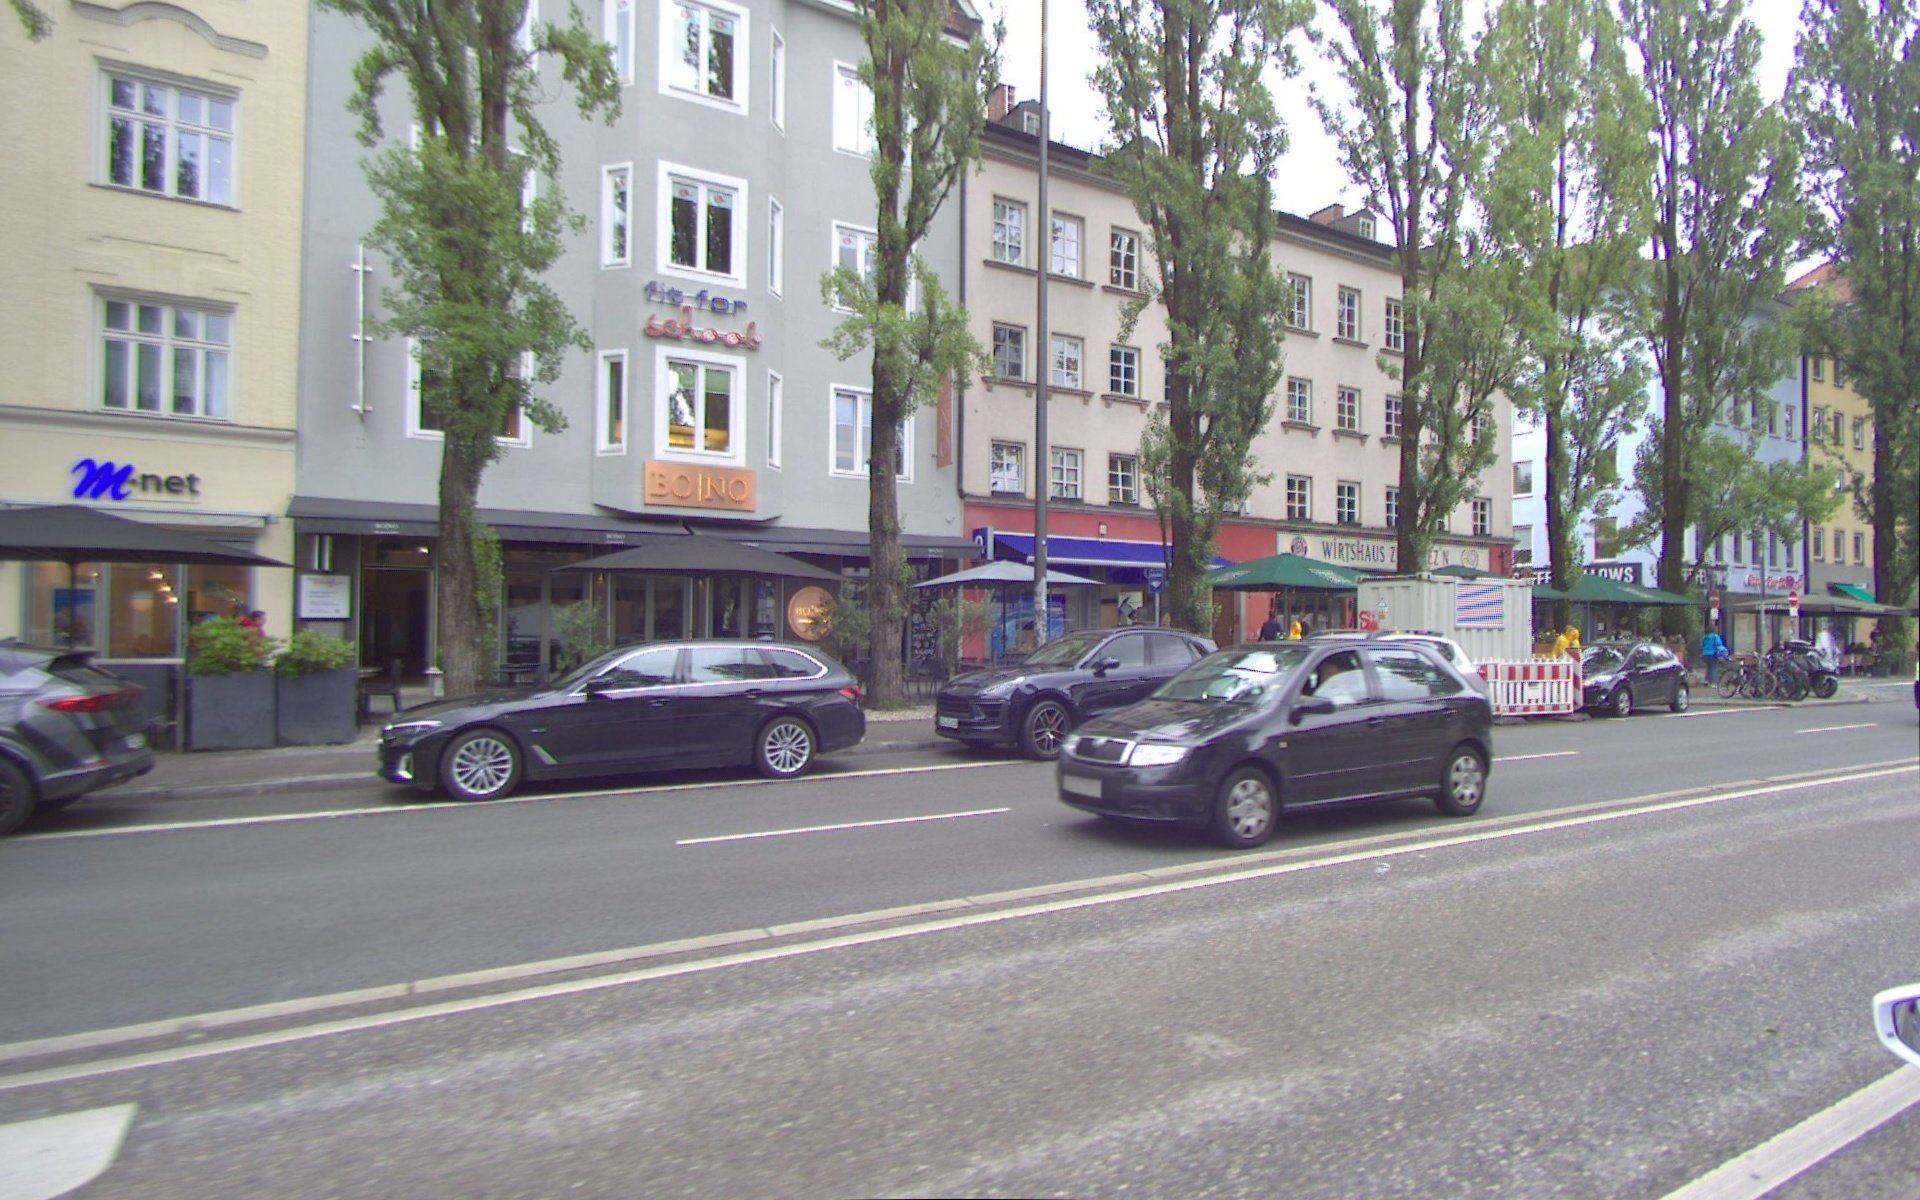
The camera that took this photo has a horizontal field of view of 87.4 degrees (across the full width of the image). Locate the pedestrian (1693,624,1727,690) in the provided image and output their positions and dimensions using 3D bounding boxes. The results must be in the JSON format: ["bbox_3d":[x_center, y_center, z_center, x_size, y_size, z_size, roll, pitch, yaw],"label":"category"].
[{"bbox_3d":[21.306,1.615,28.532,0.658,1.811,0.825,1,-1,45],"label":"pedestrian"}]

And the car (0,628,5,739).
[{"bbox_3d":[-8.133,0.884,5.245,4.162,1.585,1.840,2,-3,-30],"label":"car"}]

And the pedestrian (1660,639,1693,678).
[{"bbox_3d":[28.808,2.336,40.390,0.887,1.562,0.791,1,-2,-30],"label":"pedestrian"}]

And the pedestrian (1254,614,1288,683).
[{"bbox_3d":[8.679,1.345,28.044,0.640,1.886,0.635,1,-2,-30],"label":"pedestrian"}]

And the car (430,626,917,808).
[{"bbox_3d":[-3.060,1.119,11.009,4.831,1.617,1.986,1,-3,-28],"label":"car"}]

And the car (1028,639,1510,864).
[{"bbox_3d":[2.540,1.034,8.120,3.679,1.432,1.704,1,-2,-30],"label":"car"}]

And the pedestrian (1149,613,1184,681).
[{"bbox_3d":[5.317,1.200,25.852,0.640,1.722,0.635,1,-2,-30],"label":"pedestrian"}]

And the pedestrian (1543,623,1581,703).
[{"bbox_3d":[13.176,1.361,21.990,0.568,1.724,0.478,1,-1,-30],"label":"pedestrian"}]

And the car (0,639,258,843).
[{"bbox_3d":[-8.282,1.071,7.918,4.267,1.502,1.985,1,-3,-29],"label":"car"}]

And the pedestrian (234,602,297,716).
[{"bbox_3d":[-11.080,0.927,16.048,0.746,1.770,0.536,1,-1,-30],"label":"pedestrian"}]

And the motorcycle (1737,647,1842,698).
[{"bbox_3d":[20.144,1.733,24.421,0.667,1.152,1.848,1,-2,-32],"label":"motorcycle"}]

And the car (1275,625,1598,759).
[{"bbox_3d":[6.353,1.176,13.390,3.946,1.552,1.820,2,-3,-25],"label":"car"}]

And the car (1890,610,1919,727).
[{"bbox_3d":[18.592,1.196,17.596,4.860,1.959,1.985,2,-4,-30],"label":"car"}]

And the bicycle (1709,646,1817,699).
[{"bbox_3d":[18.687,1.672,23.415,0.667,1.152,1.848,1,-2,-32],"label":"bicycle"}]

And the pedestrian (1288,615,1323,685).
[{"bbox_3d":[9.384,1.346,27.311,0.640,1.886,0.635,1,-2,-30],"label":"pedestrian"}]

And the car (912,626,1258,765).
[{"bbox_3d":[1.684,1.145,13.300,4.277,1.585,1.842,1,-2,-27],"label":"car"}]

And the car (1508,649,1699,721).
[{"bbox_3d":[12.979,1.651,20.224,3.657,1.267,1.801,1,-2,-31],"label":"car"}]
